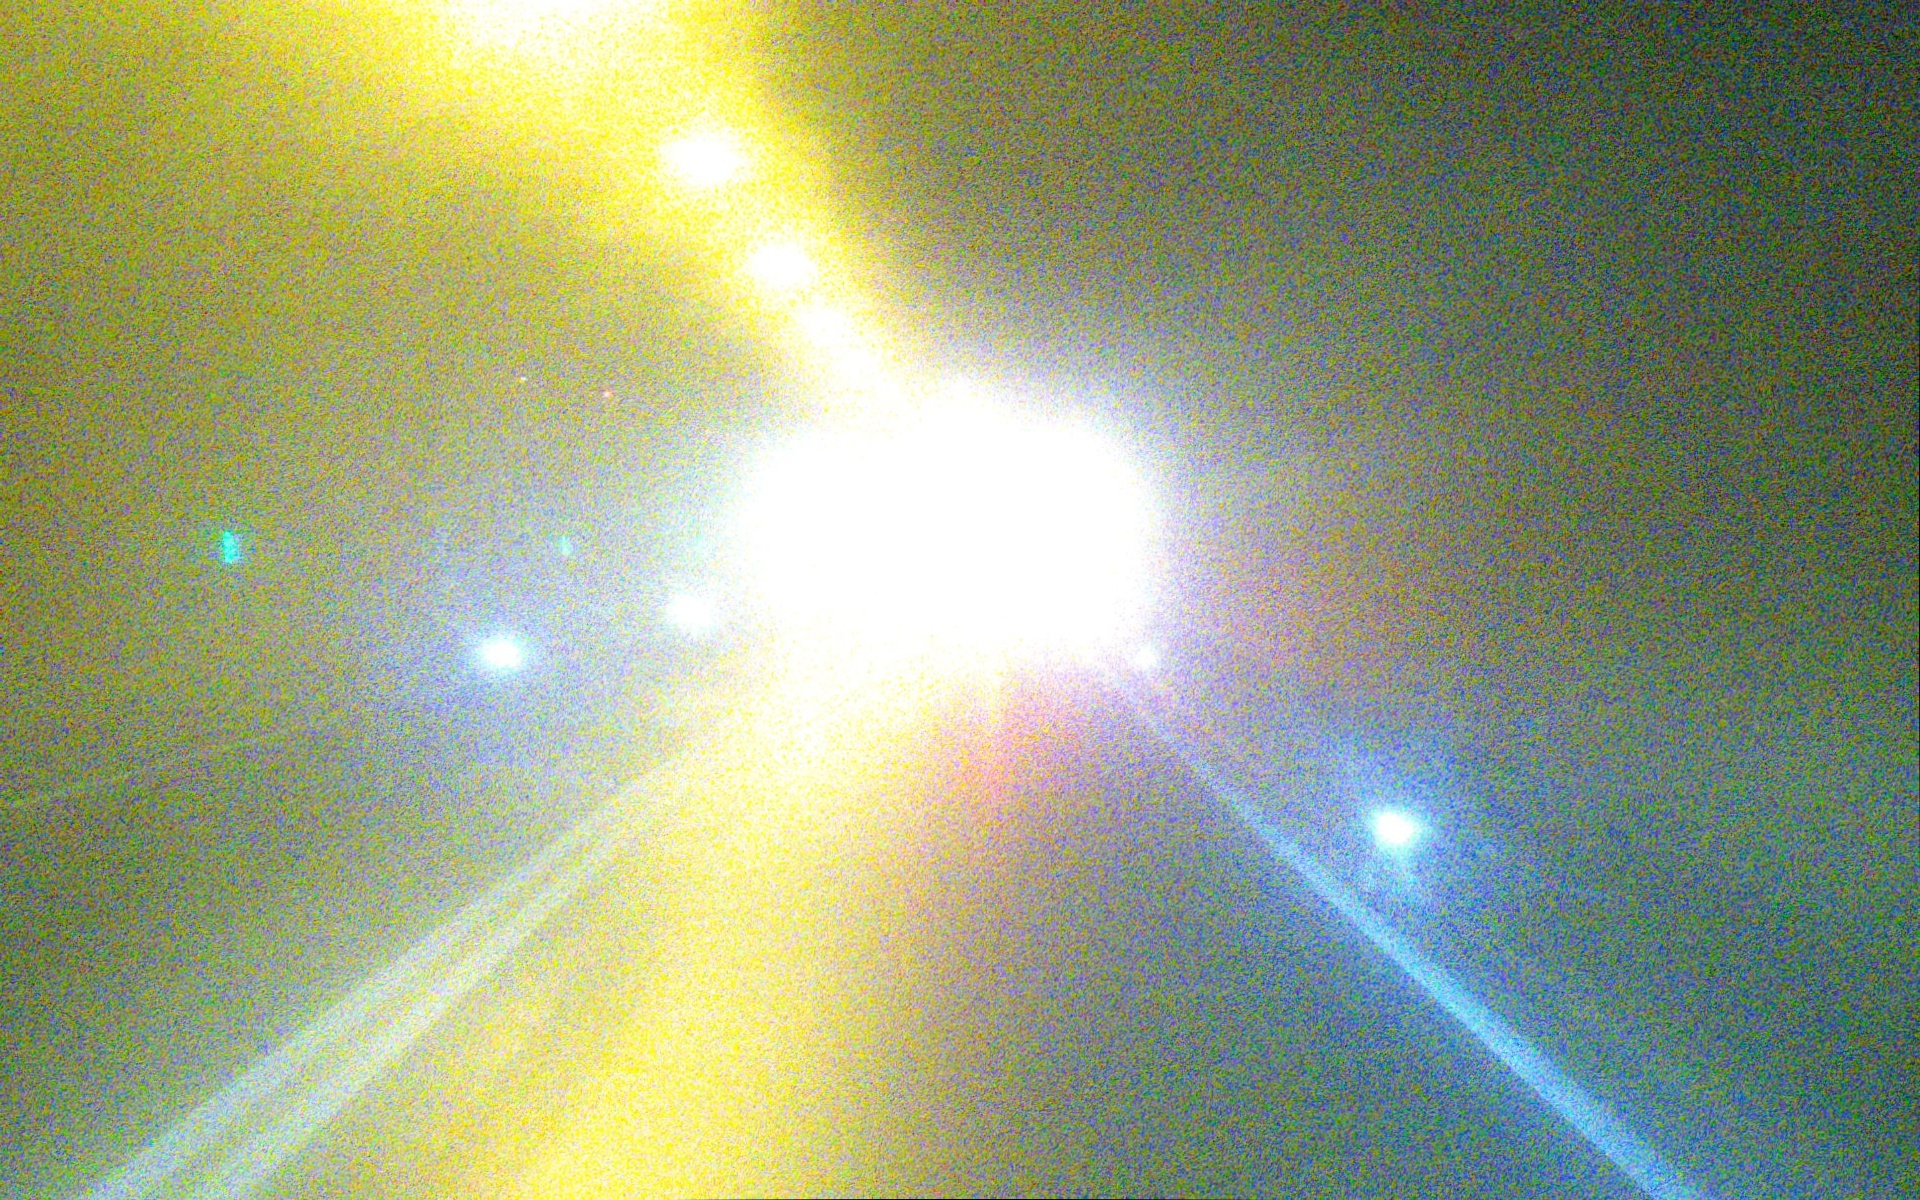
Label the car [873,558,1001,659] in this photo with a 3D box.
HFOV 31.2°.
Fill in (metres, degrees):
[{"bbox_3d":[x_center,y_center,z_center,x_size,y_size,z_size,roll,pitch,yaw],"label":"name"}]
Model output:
[{"bbox_3d":[-0.371,0.121,58.206,2.089,1.656,4.000,0,1,0],"label":"car"}]
